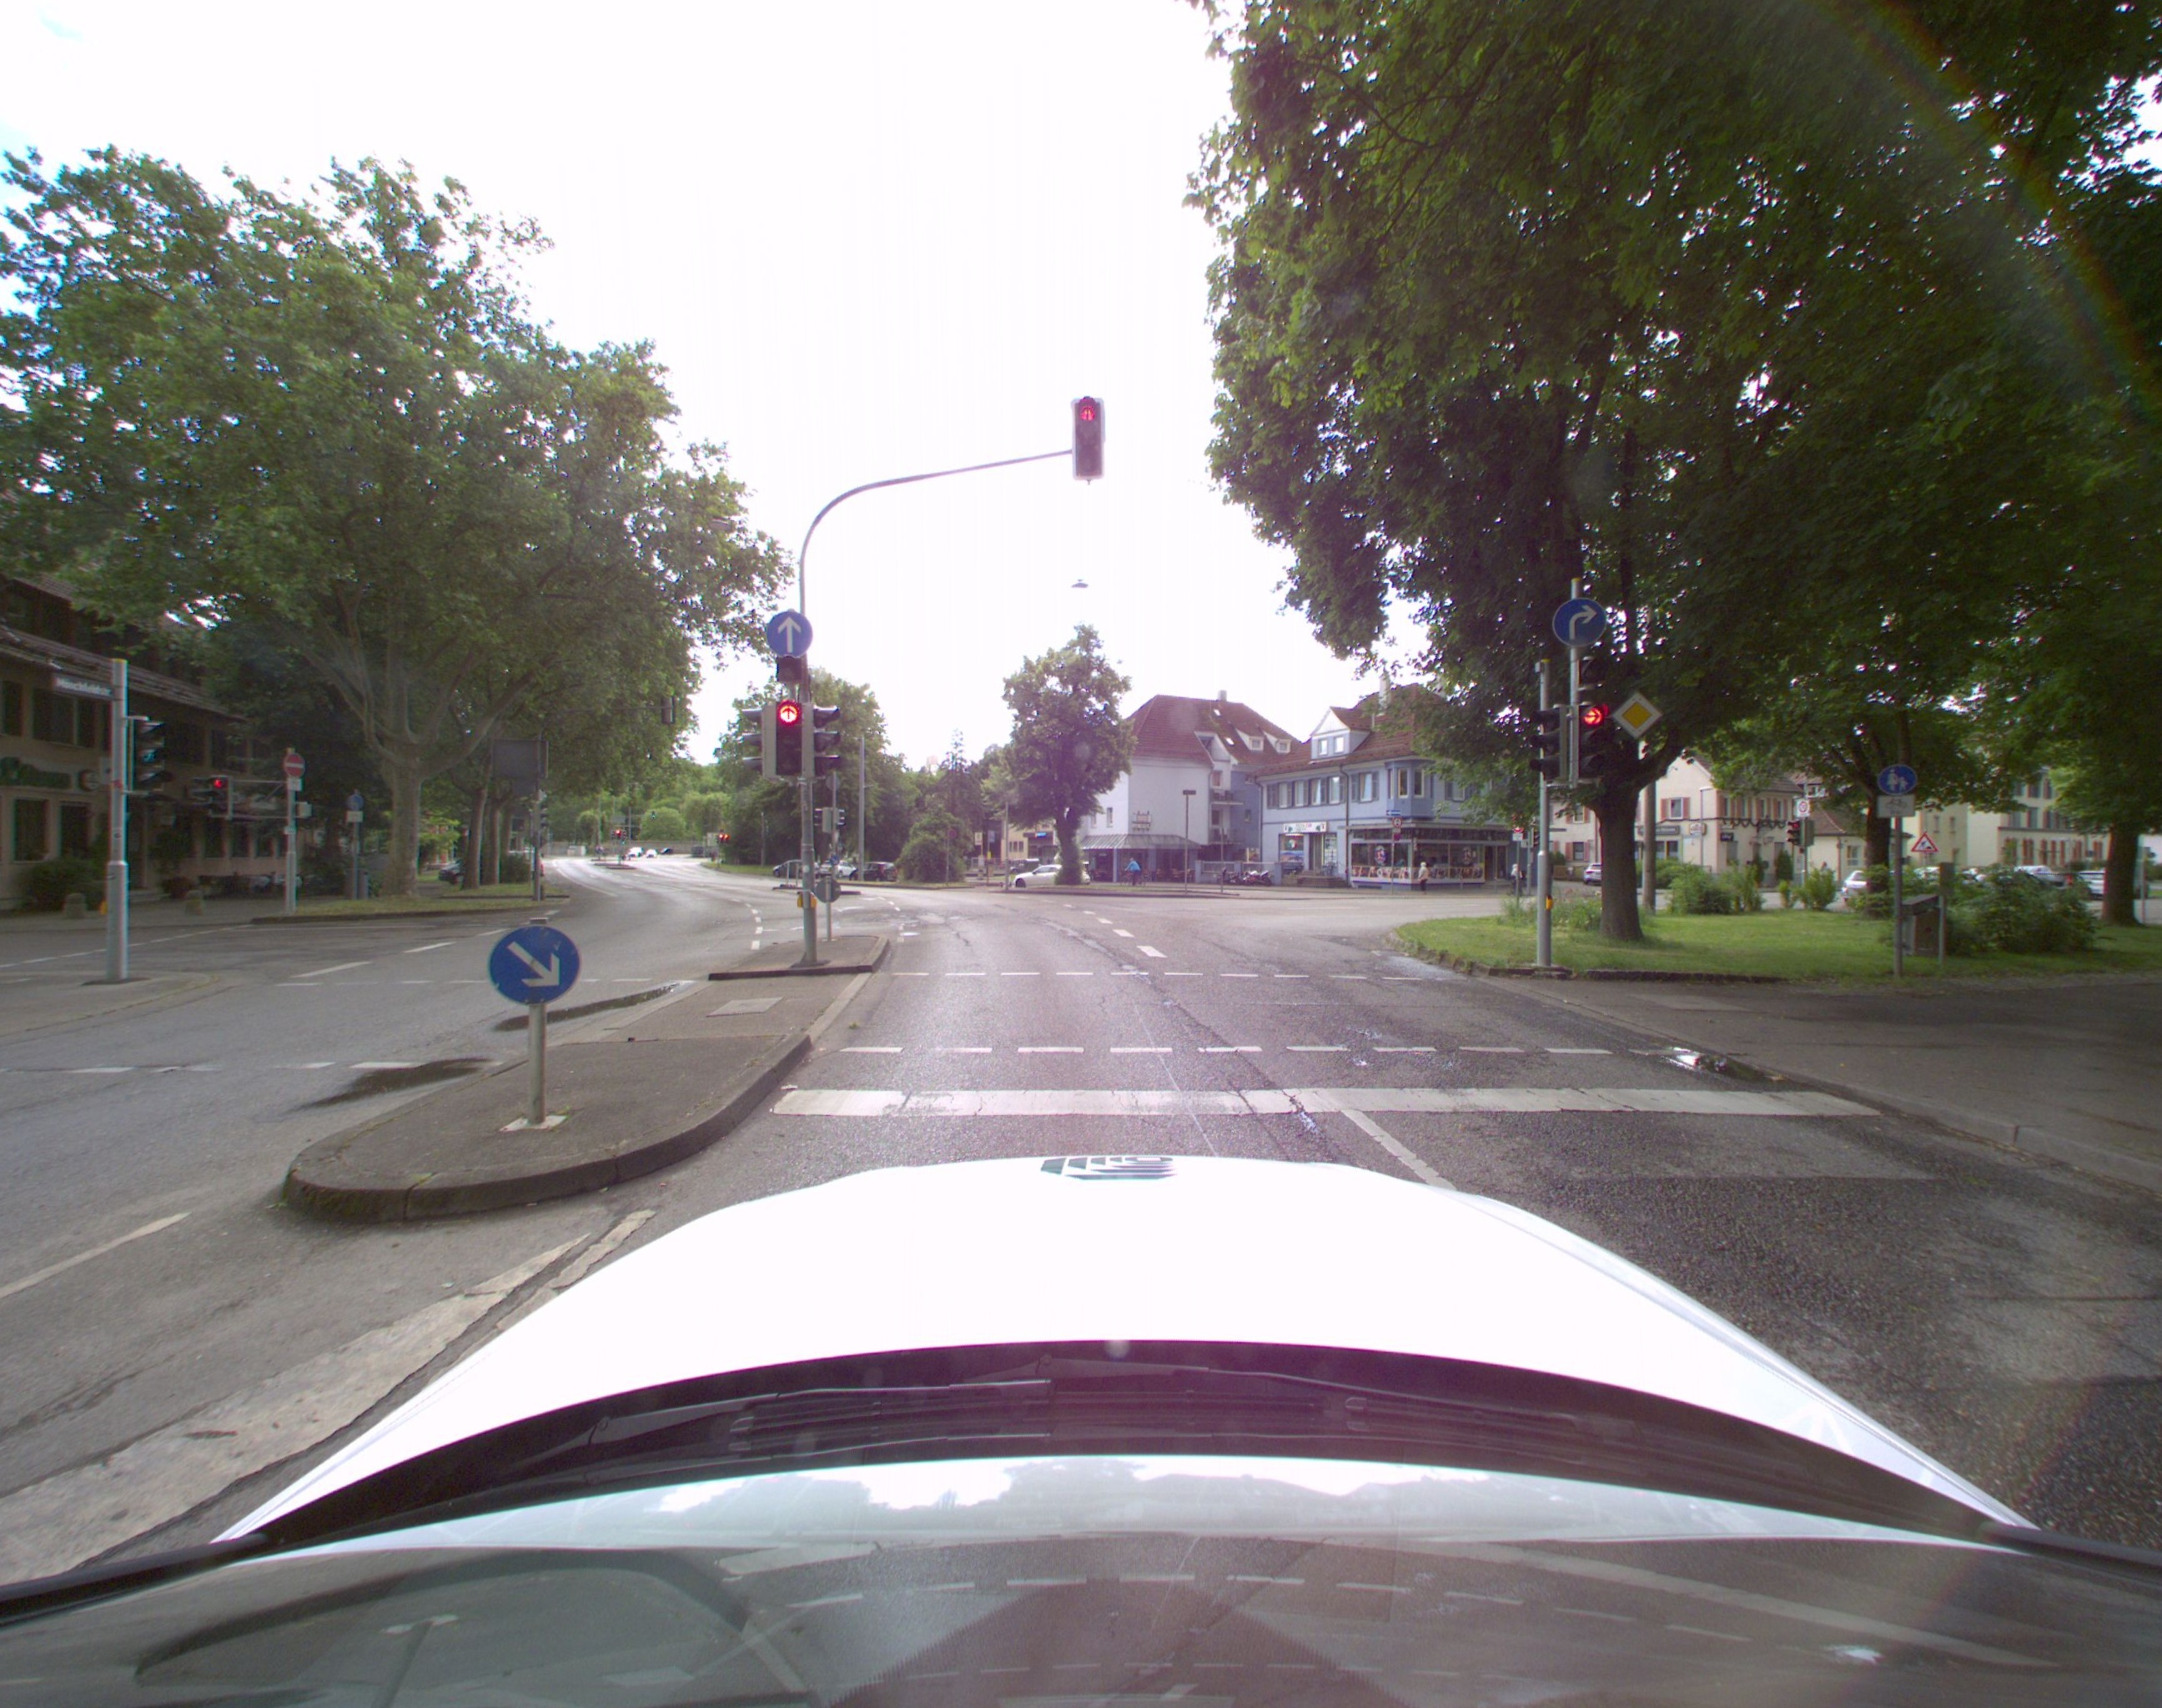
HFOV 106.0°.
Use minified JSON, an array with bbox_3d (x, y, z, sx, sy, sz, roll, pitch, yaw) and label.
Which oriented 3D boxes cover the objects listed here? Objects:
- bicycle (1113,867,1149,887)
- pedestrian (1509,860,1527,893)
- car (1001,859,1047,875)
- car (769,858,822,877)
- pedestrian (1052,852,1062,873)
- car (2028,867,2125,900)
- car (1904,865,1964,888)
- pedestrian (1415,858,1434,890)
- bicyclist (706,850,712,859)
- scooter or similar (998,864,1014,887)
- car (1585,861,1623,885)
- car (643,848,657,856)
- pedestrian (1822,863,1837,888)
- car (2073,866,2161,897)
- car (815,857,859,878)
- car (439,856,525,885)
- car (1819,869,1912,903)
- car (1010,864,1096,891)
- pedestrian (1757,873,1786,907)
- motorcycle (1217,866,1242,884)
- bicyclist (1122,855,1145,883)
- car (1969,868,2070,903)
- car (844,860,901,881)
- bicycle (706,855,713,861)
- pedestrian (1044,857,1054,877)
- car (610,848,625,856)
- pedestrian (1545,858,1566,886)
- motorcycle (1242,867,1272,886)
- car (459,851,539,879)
[{"bbox_3d":[2.954,1.365,48.047,1.927,1.149,0.882,0,-1,35],"label":"bicycle"},{"bbox_3d":[20.607,1.066,38.377,0.687,1.560,0.671,-1,-1,33],"label":"pedestrian"},{"bbox_3d":[-5.324,1.233,75.921,3.948,1.442,1.742,0,0,-18],"label":"car"},{"bbox_3d":[-22.593,1.025,64.518,3.742,1.465,1.629,0,0,20],"label":"car"},{"bbox_3d":[-1.744,0.616,59.448,0.538,1.560,0.470,-1,-1,15],"label":"pedestrian"},{"bbox_3d":[47.079,1.374,38.524,3.731,1.457,1.640,0,0,-17],"label":"car"},{"bbox_3d":[56.306,1.469,53.750,3.871,1.447,1.753,0,-1,-28],"label":"car"},{"bbox_3d":[17.061,1.003,40.395,0.724,1.560,0.773,-1,-1,33],"label":"pedestrian"},{"bbox_3d":[-52.533,0.075,115.014,0.541,1.342,0.710,0,-1,-16],"label":"bicyclist"},{"bbox_3d":[-3.954,1.139,42.849,0.439,1.175,1.442,-1,-1,11],"label":"scooter or similar"},{"bbox_3d":[32.456,1.143,50.627,1.866,1.391,3.637,0,0,31],"label":"car"},{"bbox_3d":[-83.164,-0.412,157.174,2.988,1.417,1.509,-1,-2,43],"label":"car"},{"bbox_3d":[47.604,1.379,51.810,0.504,1.560,0.507,0,-1,-13],"label":"pedestrian"},{"bbox_3d":[52.595,1.374,41.263,3.731,1.457,1.640,0,0,-17],"label":"car"},{"bbox_3d":[-20.138,1.084,67.409,1.848,1.640,3.768,0,0,13],"label":"car"},{"bbox_3d":[-35.632,0.954,48.608,4.015,1.684,1.979,0,-1,-34],"label":"car"},{"bbox_3d":[31.882,1.272,33.107,3.007,1.267,1.455,0,-1,-17],"label":"car"},{"bbox_3d":[-1.596,1.286,45.936,4.654,1.410,1.914,0,-1,37],"label":"car"},{"bbox_3d":[22.802,1.186,26.898,0.505,1.081,0.514,0,-1,-13],"label":"pedestrian"},{"bbox_3d":[9.133,1.309,50.052,1.441,1.088,0.527,-1,-1,37],"label":"motorcycle"},{"bbox_3d":[3.099,0.890,47.959,0.976,1.651,0.924,-1,-1,34],"label":"bicyclist"},{"bbox_3d":[42.345,1.383,36.761,3.731,1.457,1.640,0,0,-17],"label":"car"},{"bbox_3d":[-13.829,1.054,54.004,3.285,1.352,1.791,0,0,29],"label":"car"},{"bbox_3d":[-52.557,0.574,115.133,0.557,0.958,2.023,0,0,-14],"label":"bicycle"},{"bbox_3d":[-3.201,1.297,80.936,0.838,2.014,1.051,0,-1,-12],"label":"pedestrian"},{"bbox_3d":[-87.111,-0.360,152.983,3.293,1.486,1.594,-1,-2,43],"label":"car"},{"bbox_3d":[26.411,0.987,45.359,0.671,1.560,0.743,0,-1,-13],"label":"pedestrian"},{"bbox_3d":[10.426,1.320,48.249,1.609,1.088,0.631,-1,-1,34],"label":"motorcycle"},{"bbox_3d":[-36.462,0.678,51.177,4.015,1.684,1.979,0,-1,-34],"label":"car"}]
